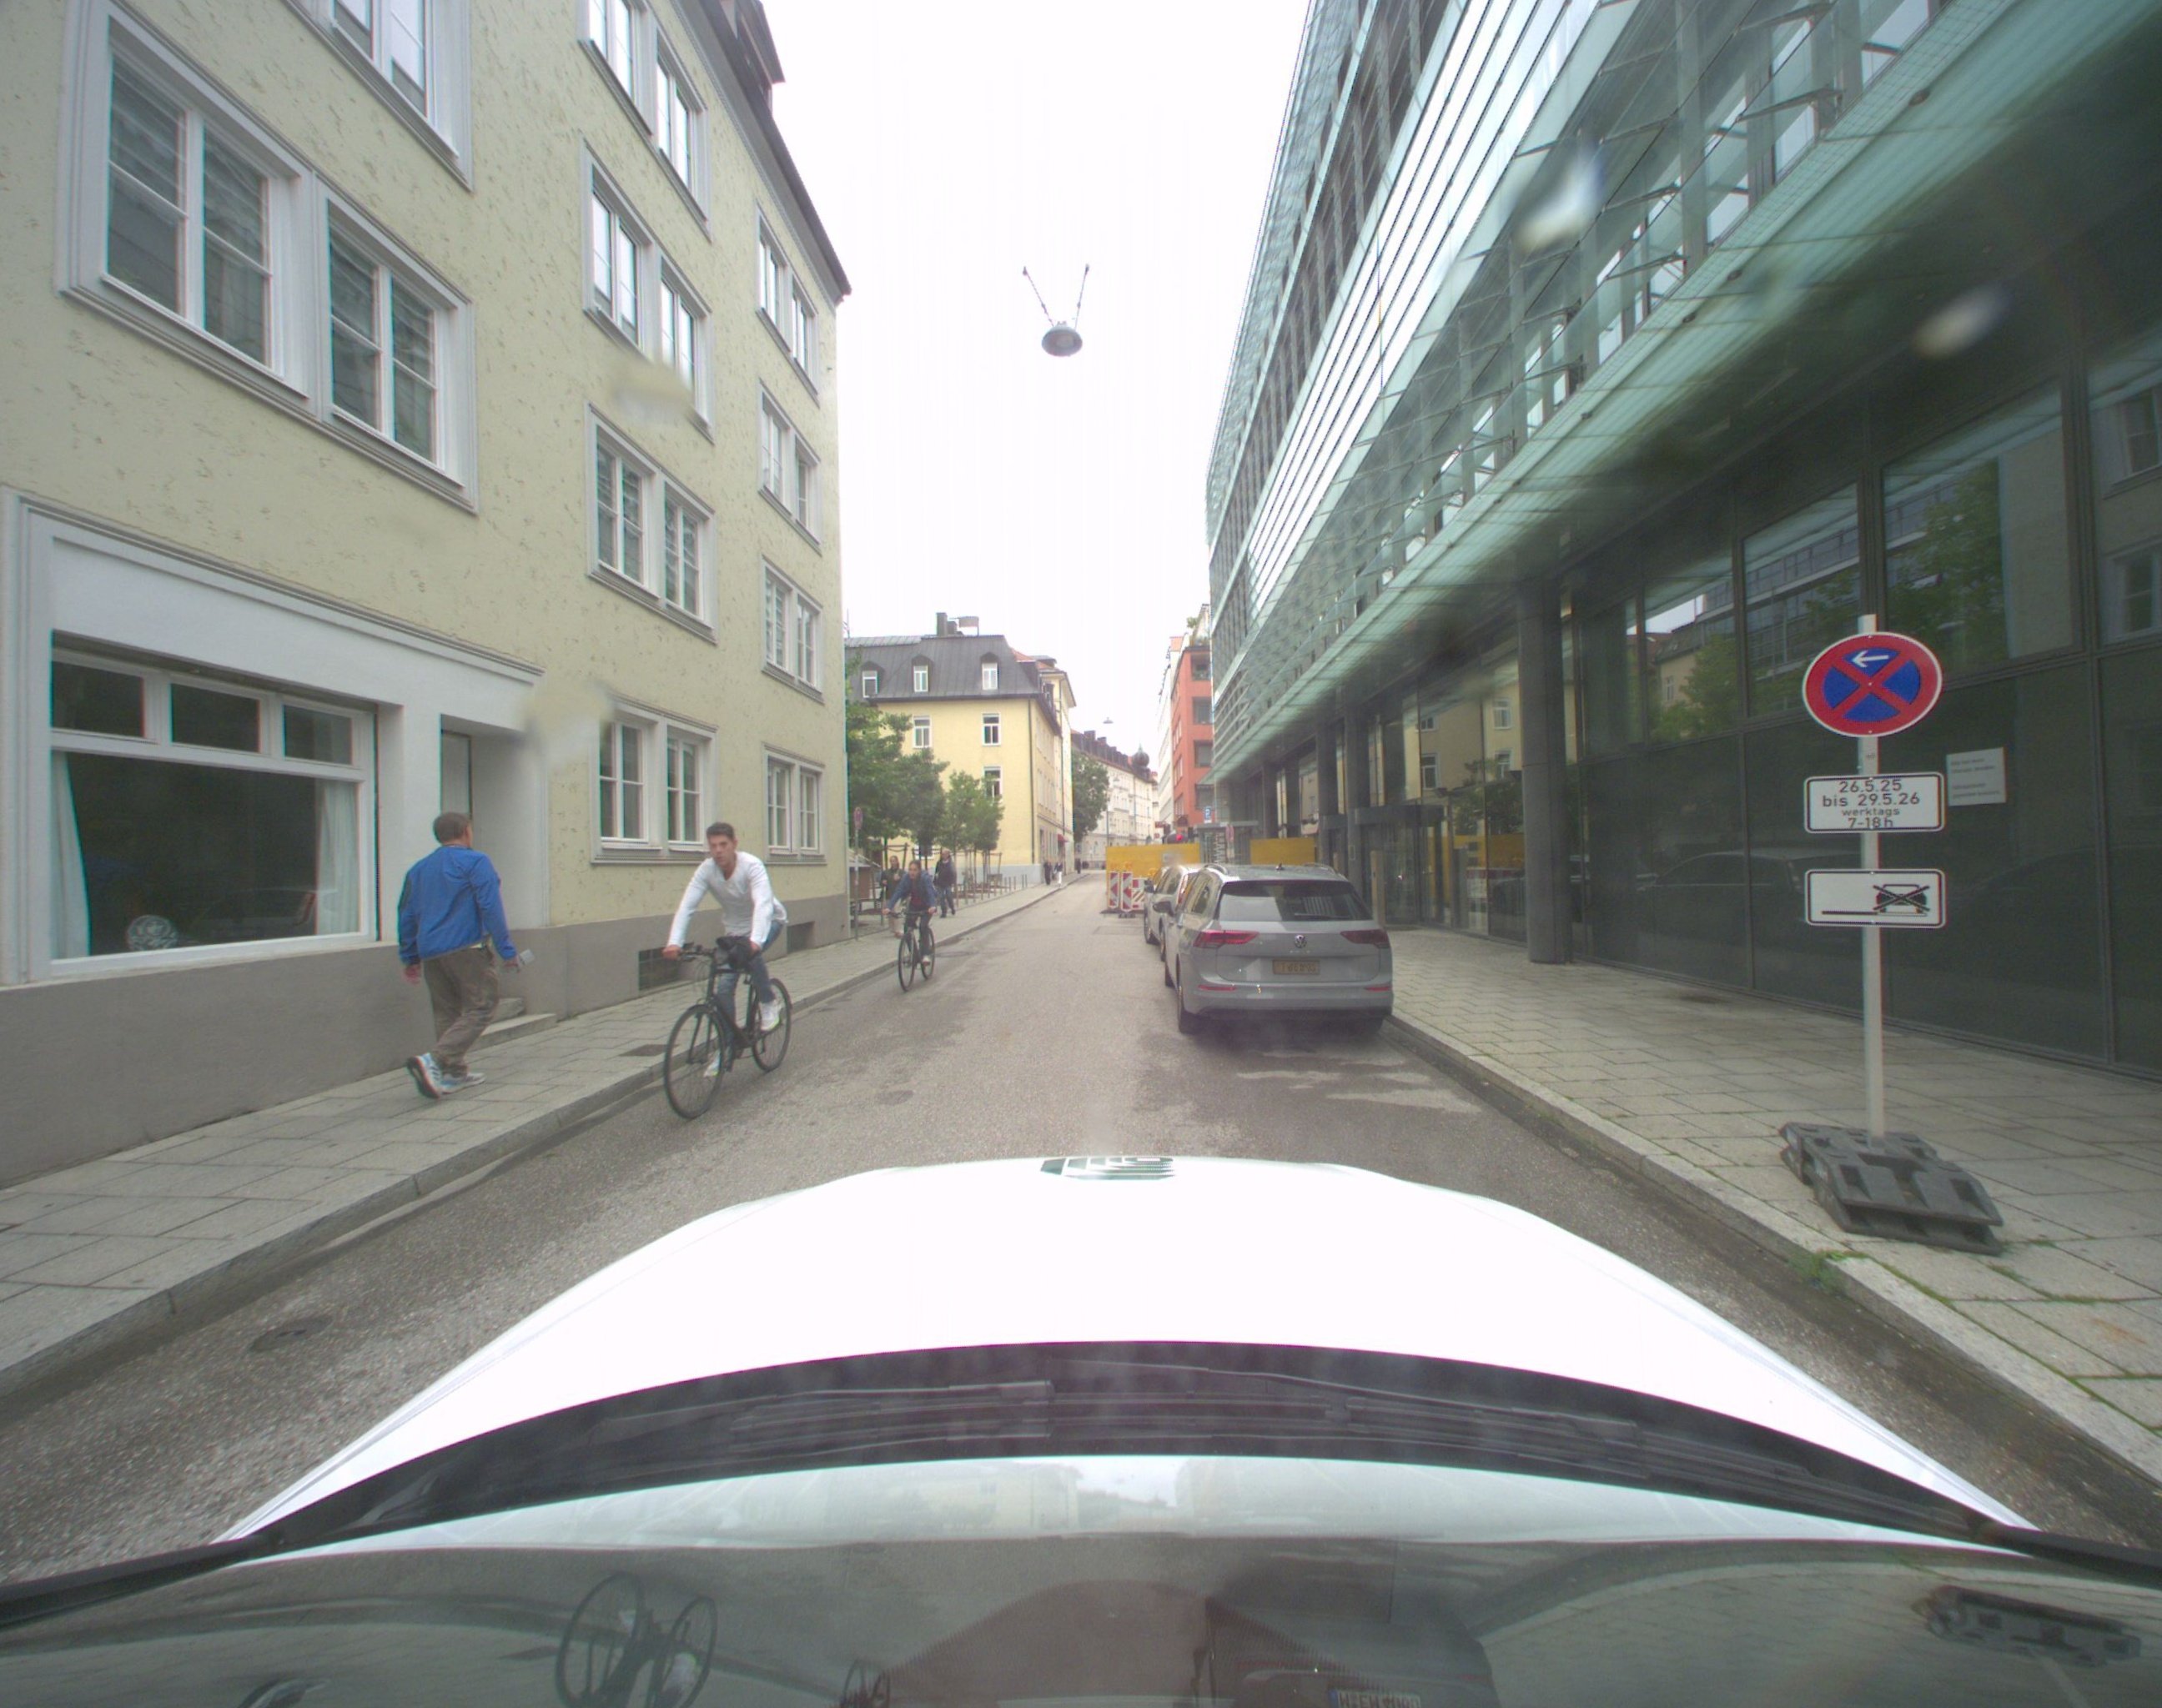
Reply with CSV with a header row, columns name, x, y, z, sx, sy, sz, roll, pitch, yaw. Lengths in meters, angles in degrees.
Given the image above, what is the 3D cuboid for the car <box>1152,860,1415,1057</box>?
name,x,y,z,sx,sy,sz,roll,pitch,yaw
car,1.699,0.804,8.246,1.701,1.432,4.331,-2,-1,2

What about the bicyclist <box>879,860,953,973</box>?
name,x,y,z,sx,sy,sz,roll,pitch,yaw
bicyclist,-2.095,0.771,10.412,0.705,1.371,0.813,-2,-1,2

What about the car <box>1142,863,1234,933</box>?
name,x,y,z,sx,sy,sz,roll,pitch,yaw
car,2.321,0.924,18.690,1.701,1.414,4.512,0,-1,2

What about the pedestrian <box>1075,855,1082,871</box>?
name,x,y,z,sx,sy,sz,roll,pitch,yaw
pedestrian,-0.285,0.945,83.738,0.632,1.675,0.518,-1,-1,2

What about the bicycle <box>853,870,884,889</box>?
name,x,y,z,sx,sy,sz,roll,pitch,yaw
bicycle,-12.545,1.511,47.993,1.647,1.069,0.599,-1,-1,6

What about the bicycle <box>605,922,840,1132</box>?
name,x,y,z,sx,sy,sz,roll,pitch,yaw
bicycle,-2.368,1.086,5.707,0.658,1.039,2.006,-2,-1,2

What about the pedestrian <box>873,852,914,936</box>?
name,x,y,z,sx,sy,sz,roll,pitch,yaw
pedestrian,-3.834,0.808,16.695,0.644,1.676,0.724,-1,-1,1

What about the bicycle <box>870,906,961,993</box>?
name,x,y,z,sx,sy,sz,roll,pitch,yaw
bicycle,-2.084,1.185,10.514,0.705,0.905,1.810,-2,-1,2

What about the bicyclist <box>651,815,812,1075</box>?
name,x,y,z,sx,sy,sz,roll,pitch,yaw
bicyclist,-2.385,0.584,5.657,0.657,1.643,0.896,-2,-1,2

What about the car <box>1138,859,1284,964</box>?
name,x,y,z,sx,sy,sz,roll,pitch,yaw
car,1.974,0.831,13.537,1.702,1.467,4.235,0,-1,-1

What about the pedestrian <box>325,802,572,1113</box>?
name,x,y,z,sx,sy,sz,roll,pitch,yaw
pedestrian,-4.123,0.624,5.415,0.754,1.854,1.077,0,-1,3

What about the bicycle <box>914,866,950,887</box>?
name,x,y,z,sx,sy,sz,roll,pitch,yaw
bicycle,-8.803,1.355,48.138,2.031,1.198,0.571,-1,-1,9

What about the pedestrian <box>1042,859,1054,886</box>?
name,x,y,z,sx,sy,sz,roll,pitch,yaw
pedestrian,-2.079,1.163,51.414,0.667,1.648,0.762,-1,-1,2

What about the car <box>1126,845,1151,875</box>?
name,x,y,z,sx,sy,sz,roll,pitch,yaw
car,4.931,0.501,70.796,1.986,2.537,4.977,-1,0,2

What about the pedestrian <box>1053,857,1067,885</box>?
name,x,y,z,sx,sy,sz,roll,pitch,yaw
pedestrian,-1.313,1.076,51.273,0.836,1.700,0.803,-1,-1,2

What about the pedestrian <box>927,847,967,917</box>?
name,x,y,z,sx,sy,sz,roll,pitch,yaw
pedestrian,-3.735,0.774,22.815,0.864,1.881,1.135,-1,-1,1

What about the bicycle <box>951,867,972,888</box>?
name,x,y,z,sx,sy,sz,roll,pitch,yaw
bicycle,-6.744,1.323,45.971,0.506,1.144,2.058,-1,-1,11
